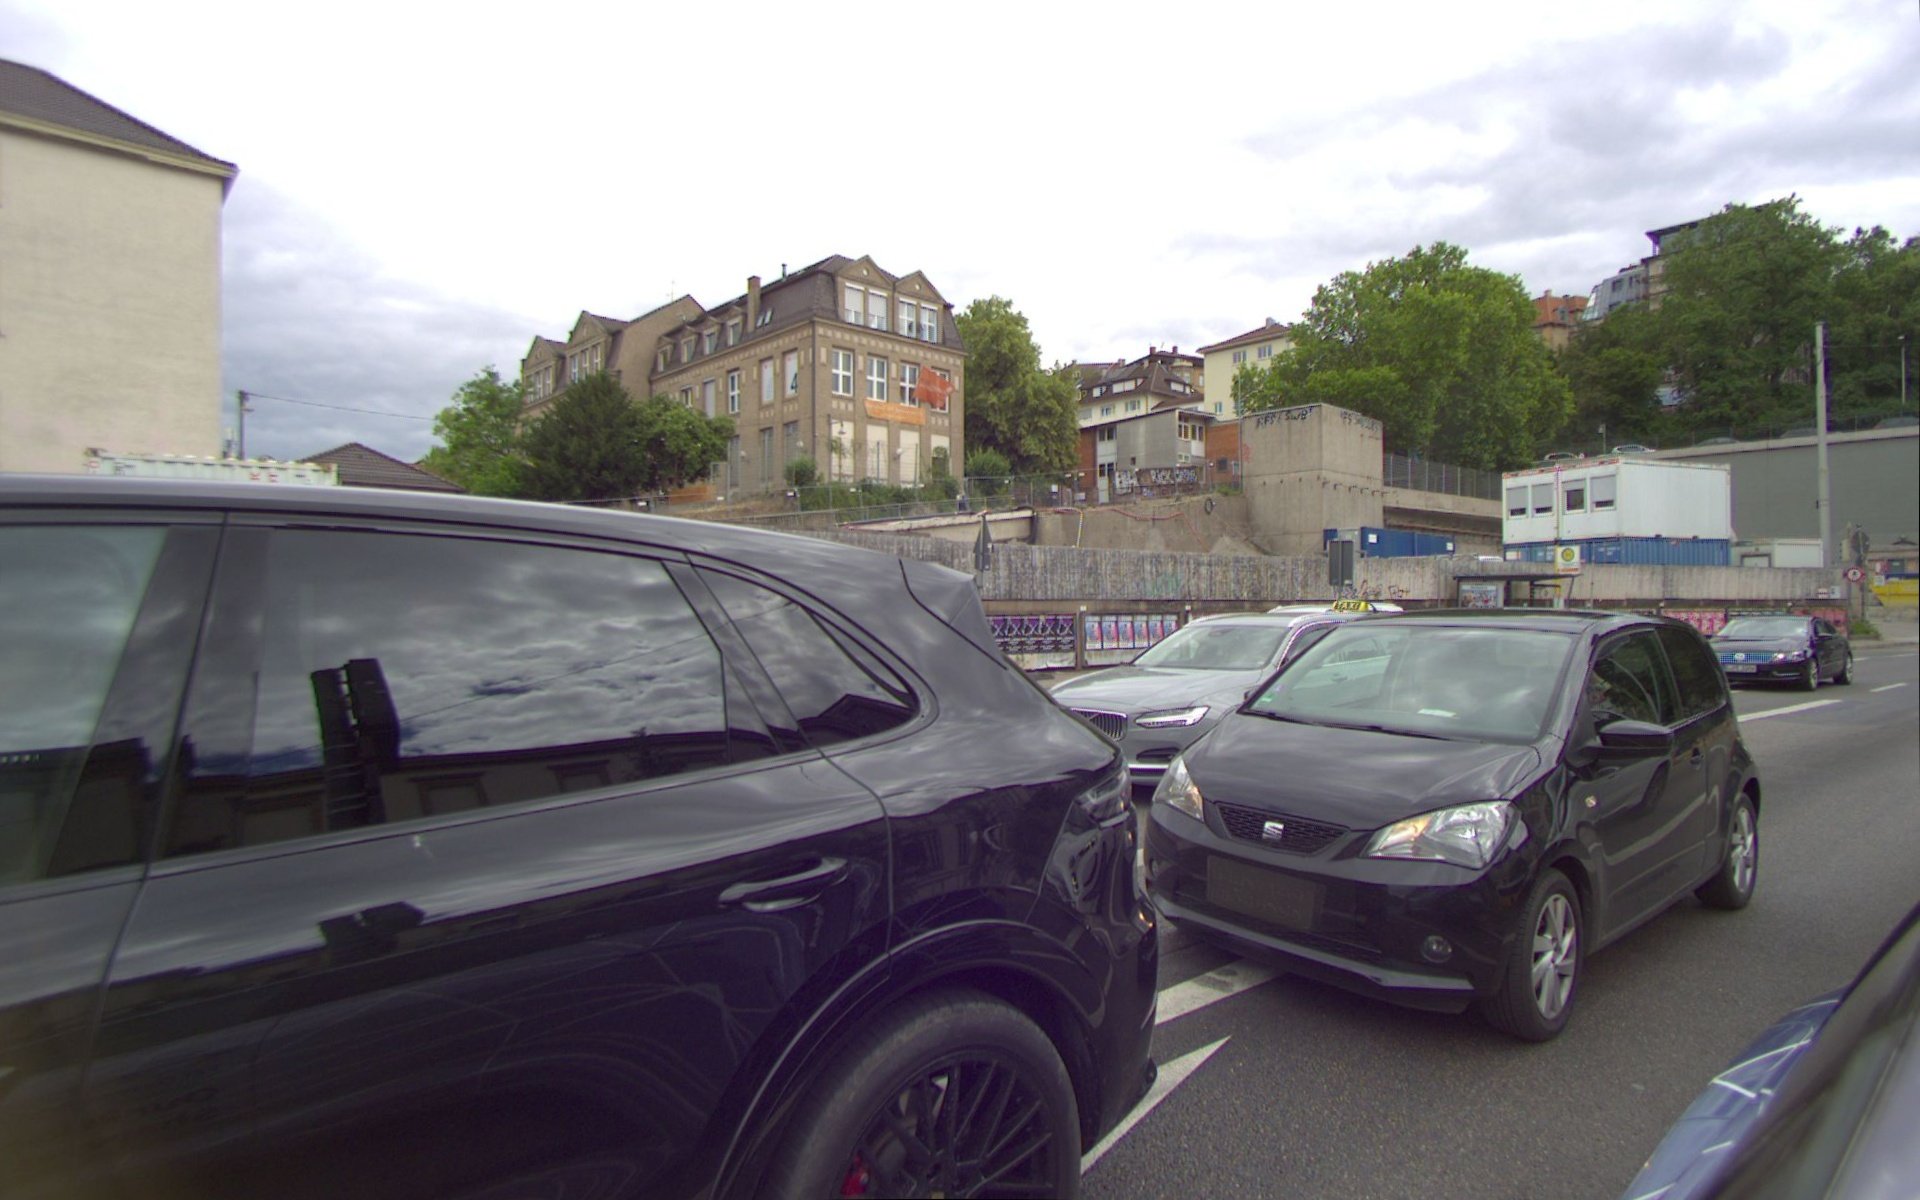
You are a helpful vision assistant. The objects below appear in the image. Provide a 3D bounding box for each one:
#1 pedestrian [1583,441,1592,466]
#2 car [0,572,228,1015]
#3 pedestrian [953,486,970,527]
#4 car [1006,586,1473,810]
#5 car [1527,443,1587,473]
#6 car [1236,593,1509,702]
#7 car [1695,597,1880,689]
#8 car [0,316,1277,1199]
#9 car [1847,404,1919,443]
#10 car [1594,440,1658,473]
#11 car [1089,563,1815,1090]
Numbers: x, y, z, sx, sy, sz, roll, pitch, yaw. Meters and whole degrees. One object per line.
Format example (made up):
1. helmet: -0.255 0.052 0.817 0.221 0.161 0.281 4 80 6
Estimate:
1. pedestrian: 53.551 -12.483 86.385 0.568 2.039 0.580 0 0 -44
2. car: -4.881 0.690 3.420 3.812 1.563 1.667 0 -1 -40
3. pedestrian: 0.077 -4.828 52.133 0.656 2.039 0.644 0 0 -45
4. car: 2.738 0.685 9.335 4.570 1.591 1.826 0 0 -39
5. car: 50.246 -11.932 85.232 3.988 2.039 1.968 0 1 45
6. car: 6.838 0.697 16.672 4.458 1.579 1.708 0 0 -28
7. car: 16.154 0.748 19.684 4.465 1.579 1.705 0 0 -36
8. car: -1.620 0.581 1.702 4.552 1.707 1.959 0 -1 -40
9. car: 64.151 -12.208 70.053 1.966 2.039 3.991 0 1 -43
10. car: 53.562 -11.524 81.443 3.988 2.039 1.968 0 1 45
11. car: 2.529 0.656 4.788 3.812 1.515 1.667 0 -1 -40
